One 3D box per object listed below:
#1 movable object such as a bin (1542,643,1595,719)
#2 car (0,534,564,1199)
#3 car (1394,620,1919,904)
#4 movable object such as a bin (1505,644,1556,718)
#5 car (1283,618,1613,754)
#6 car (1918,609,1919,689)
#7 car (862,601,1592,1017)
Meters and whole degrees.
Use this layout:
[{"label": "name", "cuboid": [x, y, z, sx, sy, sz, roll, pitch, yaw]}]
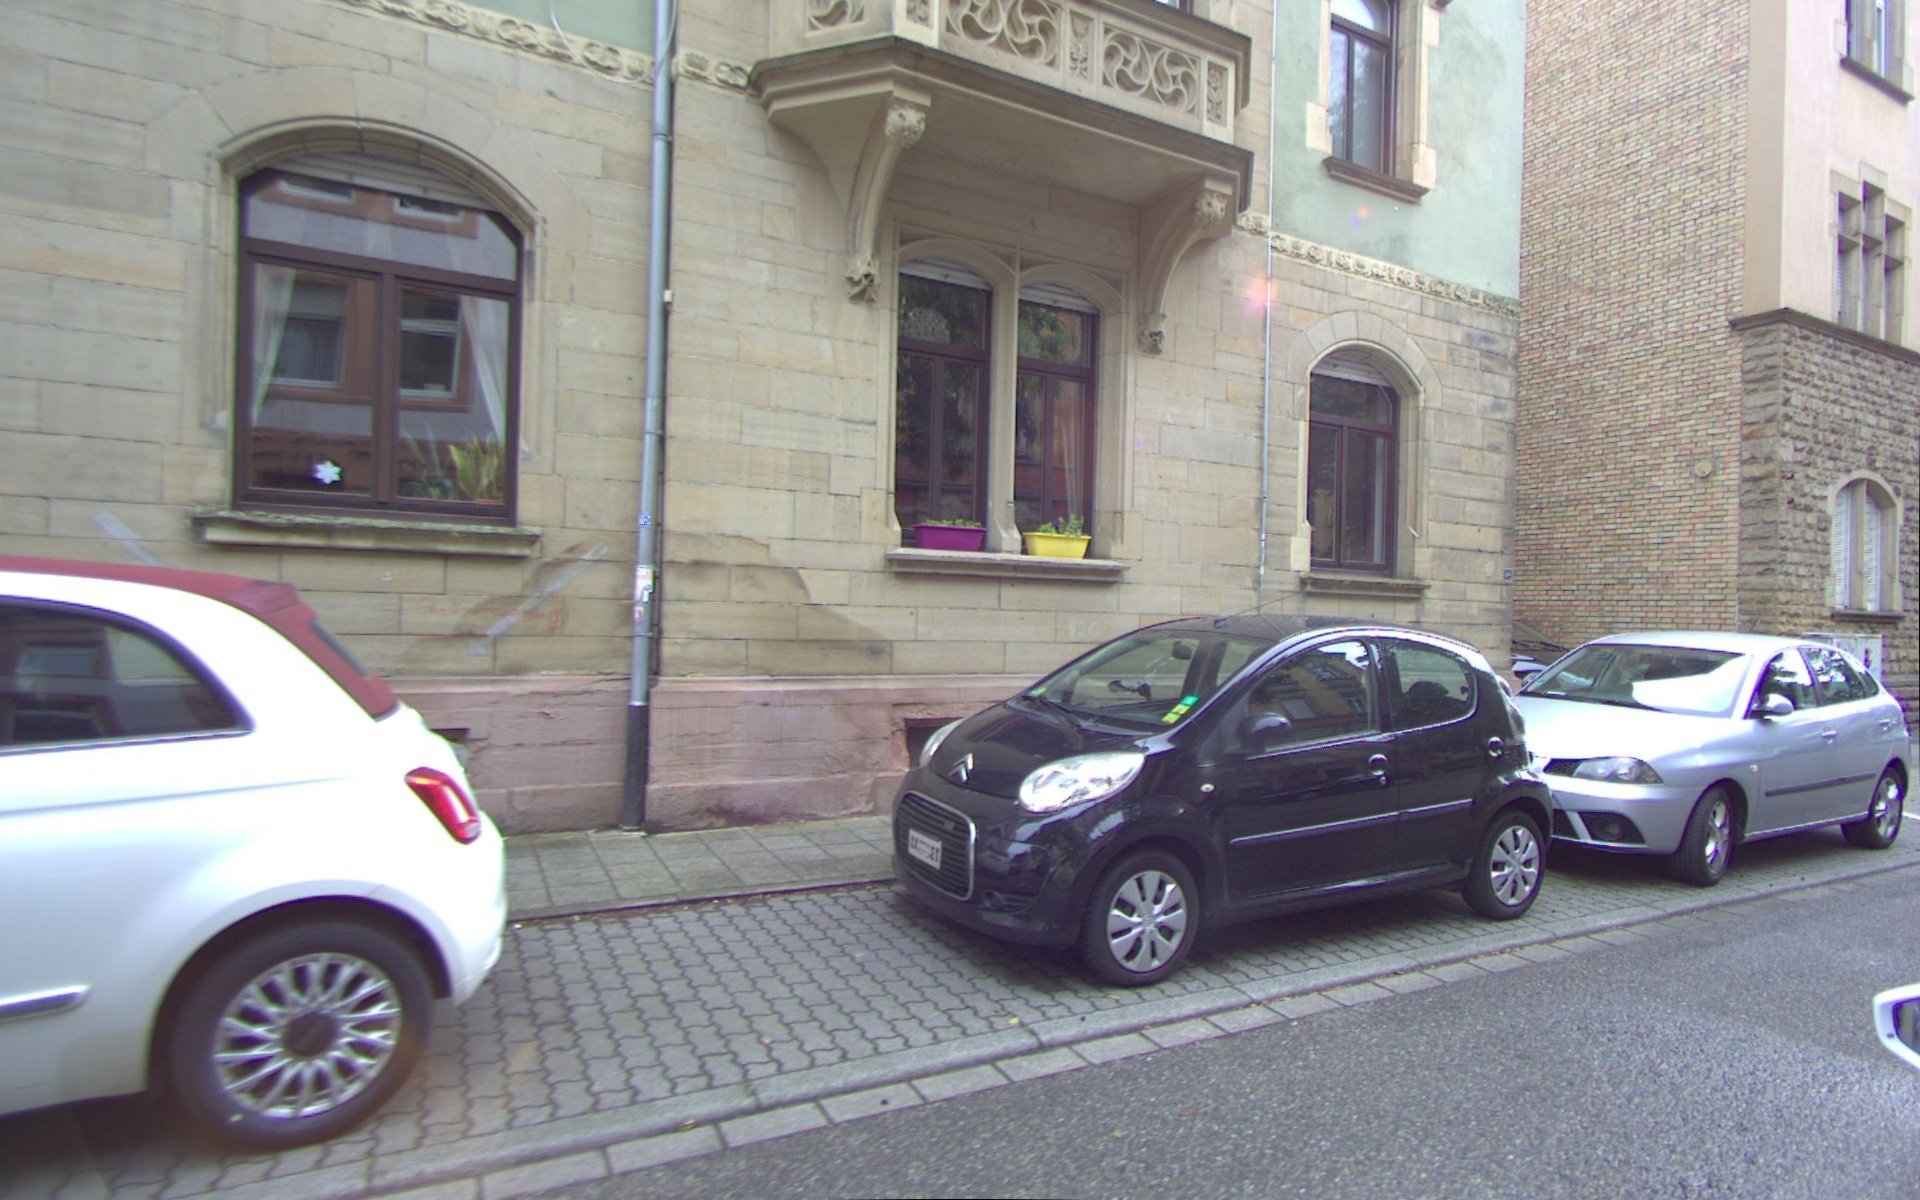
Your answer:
[{"label": "movable object such as a bin", "cuboid": [8.867, 1.167, 14.637, 0.544, 1.077, 0.437, 2, -1, -27]}, {"label": "car", "cuboid": [-3.059, 0.598, 2.622, 3.515, 1.531, 1.657, 2, 0, -33]}, {"label": "car", "cuboid": [4.943, 0.915, 6.964, 3.763, 1.453, 1.582, 1, 1, -29]}, {"label": "movable object such as a bin", "cuboid": [8.590, 1.217, 15.129, 0.544, 1.077, 0.437, 2, -1, -27]}, {"label": "car", "cuboid": [6.688, 1.086, 14.239, 1.745, 1.585, 3.972, 2, -1, -27]}, {"label": "car", "cuboid": [25.958, 1.271, 25.820, 3.936, 1.994, 1.809, 2, -1, -44]}, {"label": "car", "cuboid": [1.385, 0.782, 5.047, 3.412, 1.453, 1.511, 1, 1, -28]}]
